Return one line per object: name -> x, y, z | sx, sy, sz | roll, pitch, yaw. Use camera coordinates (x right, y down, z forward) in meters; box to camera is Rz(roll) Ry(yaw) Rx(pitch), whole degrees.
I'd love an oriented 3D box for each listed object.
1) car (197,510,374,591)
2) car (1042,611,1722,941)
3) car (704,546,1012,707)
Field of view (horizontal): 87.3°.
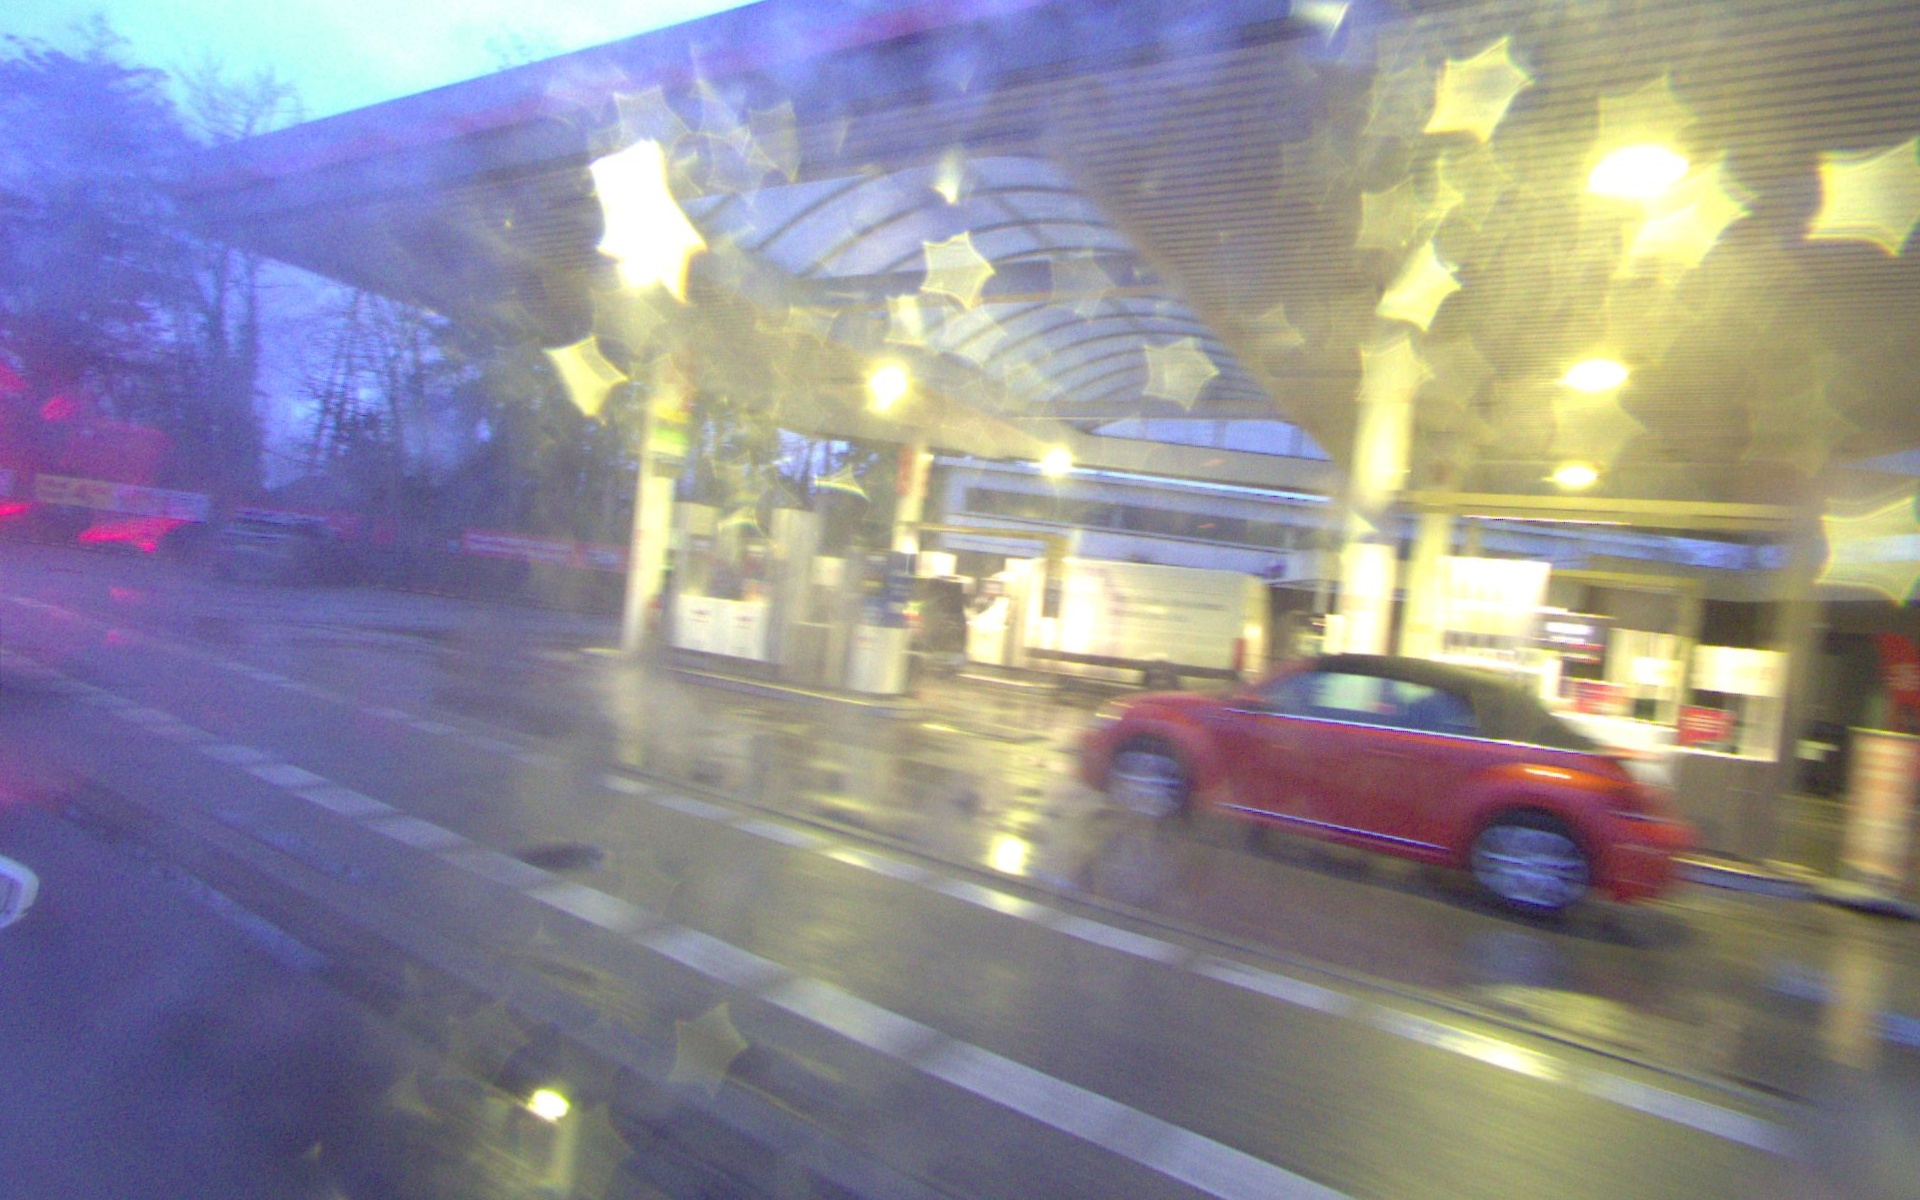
car -> -16.914, -1.181, 25.532 | 1.986, 1.628, 4.474 | 7, 0, -11
car -> 2.844, 1.039, 7.371 | 4.100, 1.414, 1.573 | 7, 1, 32
car -> -1.612, 0.346, 15.443 | 4.228, 1.883, 1.995 | 7, 1, 32
